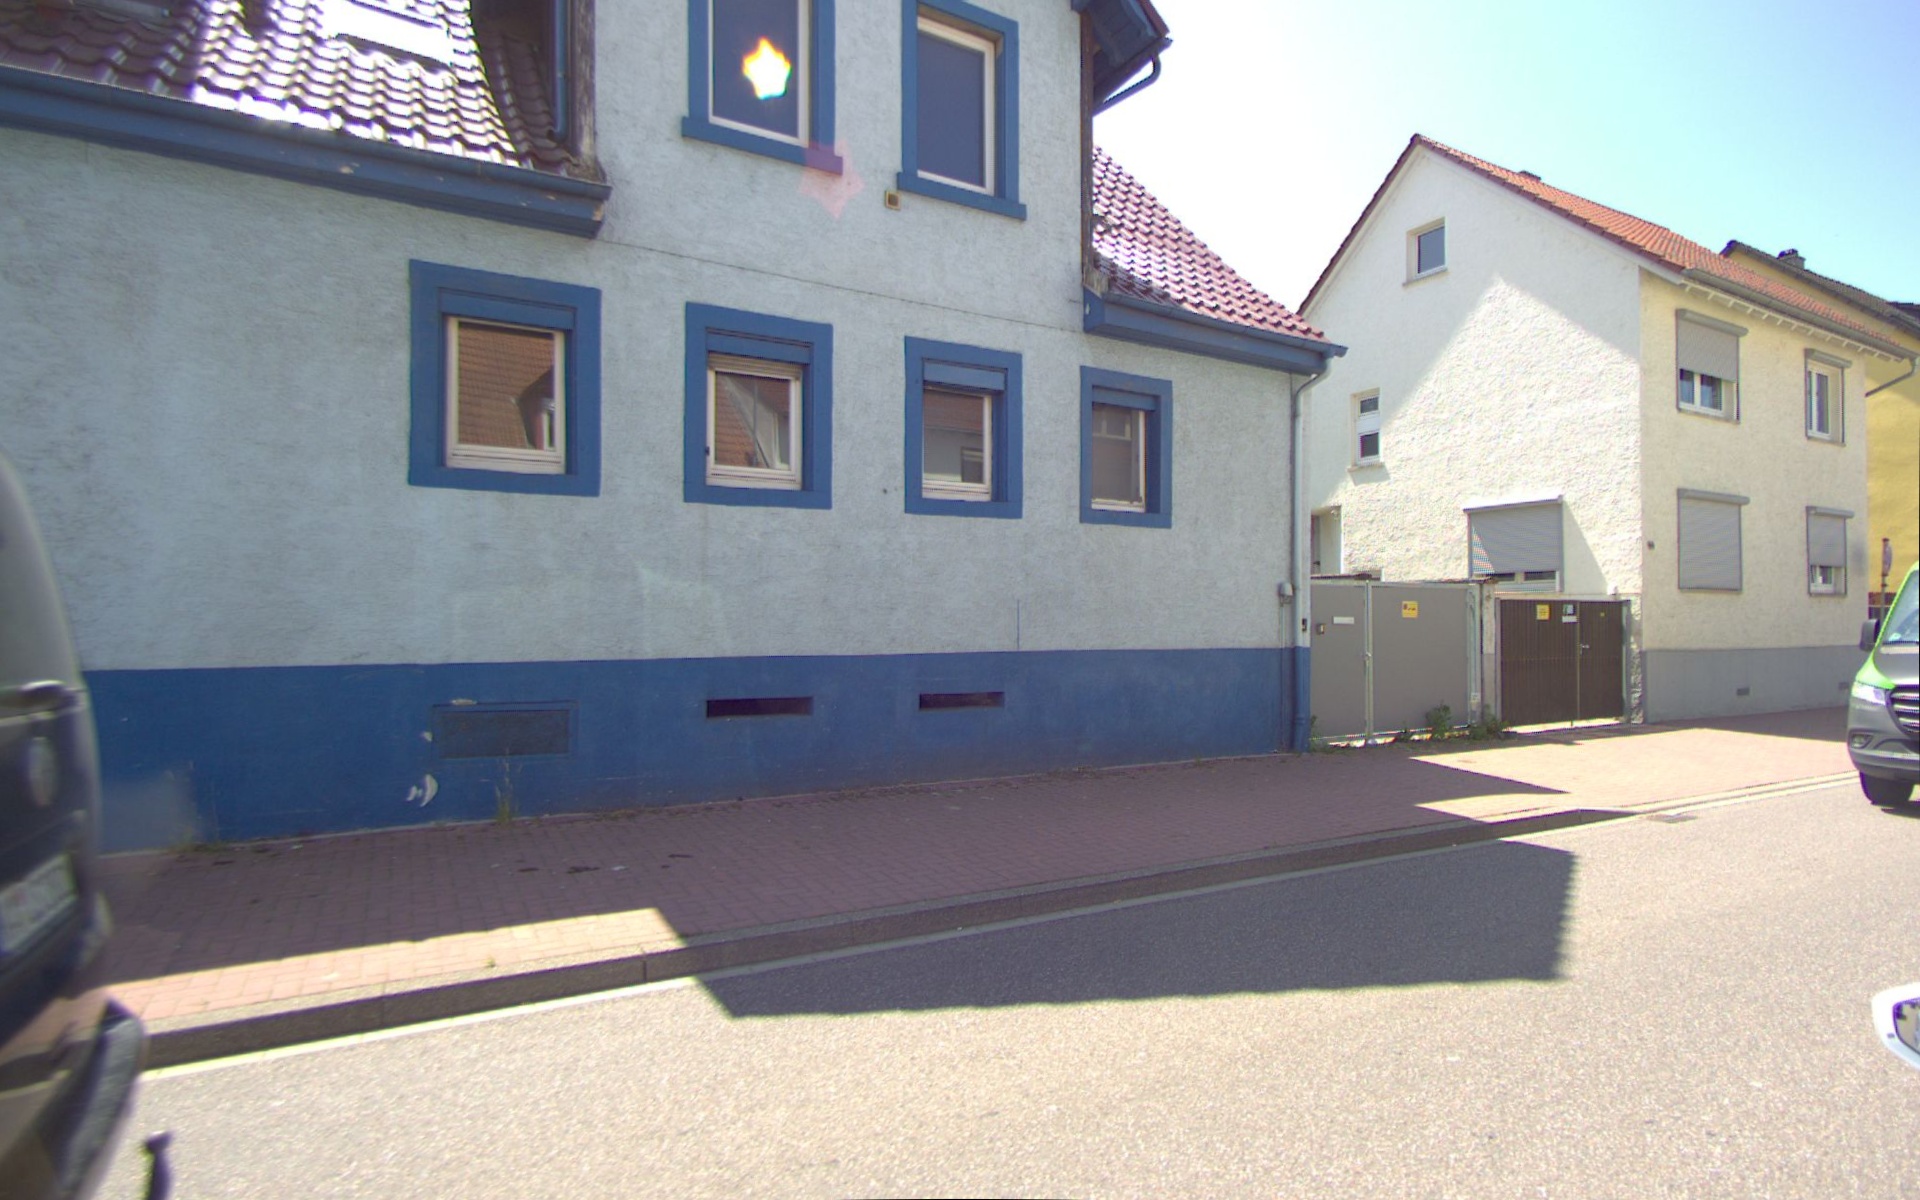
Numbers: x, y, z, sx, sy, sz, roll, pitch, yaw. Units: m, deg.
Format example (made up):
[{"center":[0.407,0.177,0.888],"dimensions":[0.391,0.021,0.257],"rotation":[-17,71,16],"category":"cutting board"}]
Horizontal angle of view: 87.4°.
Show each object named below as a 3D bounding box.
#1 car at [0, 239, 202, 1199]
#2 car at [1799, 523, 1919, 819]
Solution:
[{"center":[-3.843,0.473,0.686],"dimensions":[5.057,1.969,1.872],"rotation":[1,-2,-30],"category":"car"},{"center":[10.454,0.603,9.403],"dimensions":[6.010,2.384,2.041],"rotation":[1,-2,-30],"category":"car"}]
